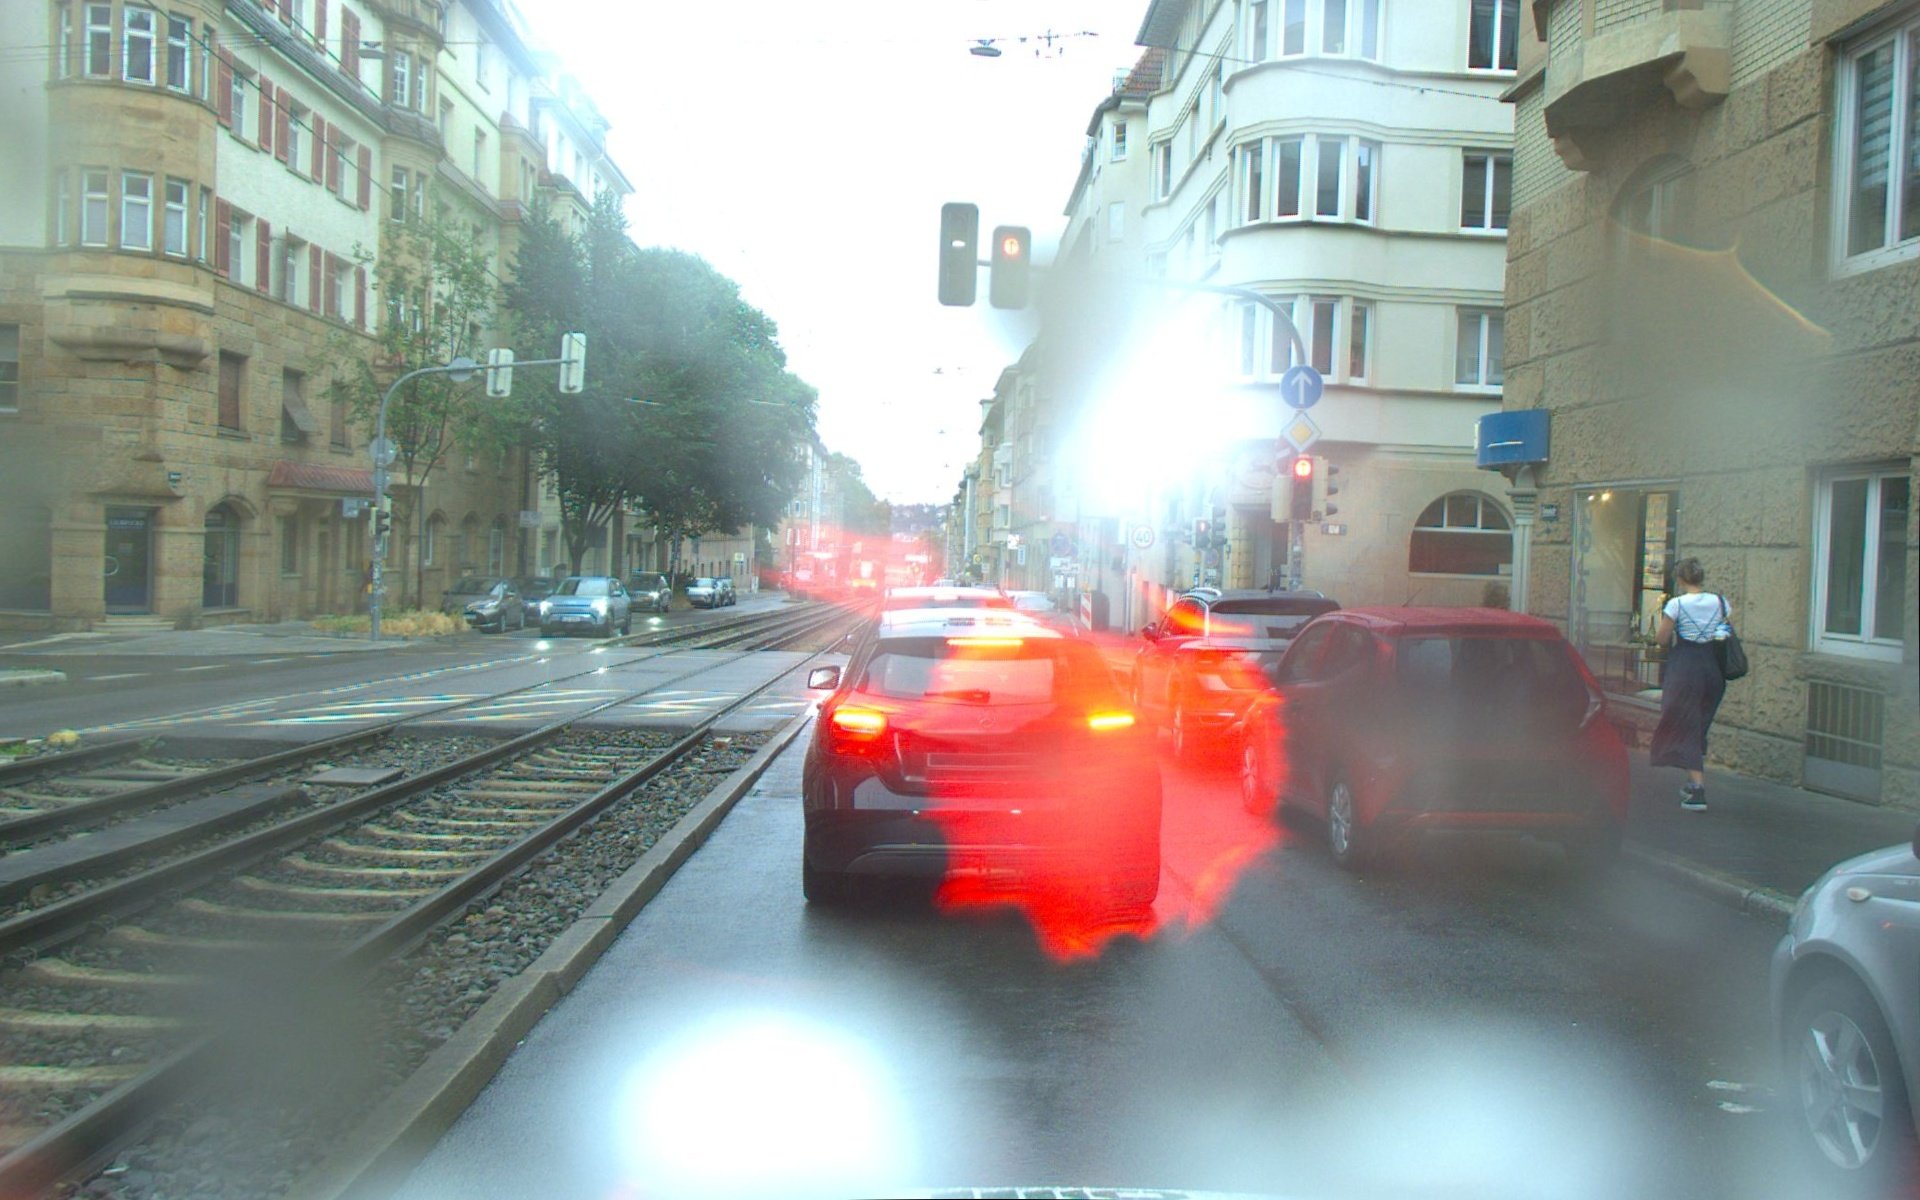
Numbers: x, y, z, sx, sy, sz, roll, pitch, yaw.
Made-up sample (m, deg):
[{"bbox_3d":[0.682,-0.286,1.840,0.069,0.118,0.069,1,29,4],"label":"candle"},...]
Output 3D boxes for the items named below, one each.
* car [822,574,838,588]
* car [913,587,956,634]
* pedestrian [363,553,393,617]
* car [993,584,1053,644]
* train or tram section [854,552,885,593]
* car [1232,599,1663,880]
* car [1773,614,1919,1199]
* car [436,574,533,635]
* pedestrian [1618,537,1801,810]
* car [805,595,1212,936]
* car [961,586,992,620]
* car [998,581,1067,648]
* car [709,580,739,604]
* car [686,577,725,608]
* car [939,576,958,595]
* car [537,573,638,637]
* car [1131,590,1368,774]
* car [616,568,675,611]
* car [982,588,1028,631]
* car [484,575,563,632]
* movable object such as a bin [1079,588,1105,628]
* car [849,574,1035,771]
[{"bbox_3d":[-12.138,-1.787,154.765,1.349,1.271,3.296,1,0,-2],"label":"car"},{"bbox_3d":[-0.979,0.368,61.924,1.513,1.664,3.684,1,0,-2],"label":"car"},{"bbox_3d":[-15.701,-0.387,44.636,0.619,1.702,0.701,1,-1,-9],"label":"pedestrian"},{"bbox_3d":[1.763,0.378,47.132,1.513,1.618,3.547,1,0,-1],"label":"car"},{"bbox_3d":[-9.309,-2.750,171.041,2.726,3.928,10.427,1,0,-1],"label":"train or tram section"},{"bbox_3d":[2.902,0.753,10.553,1.609,1.473,3.297,1,0,-3],"label":"car"},{"bbox_3d":[3.119,0.793,3.093,1.581,1.493,3.312,0,0,0],"label":"car"},{"bbox_3d":[-13.018,0.119,45.487,1.718,1.579,4.032,1,0,-4],"label":"car"},{"bbox_3d":[5.142,0.486,11.413,0.726,1.778,1.111,1,-1,-1],"label":"pedestrian"},{"bbox_3d":[0.187,0.735,9.443,1.792,1.483,4.103,1,0,-1],"label":"car"},{"bbox_3d":[0.716,0.130,73.598,1.268,1.467,2.928,1,0,-1],"label":"car"},{"bbox_3d":[1.833,0.352,42.658,1.513,1.618,3.547,1,0,-1],"label":"car"},{"bbox_3d":[-14.032,-0.452,98.362,1.419,1.354,3.270,1,0,-3],"label":"car"},{"bbox_3d":[-13.664,-0.395,88.957,1.557,1.608,3.917,1,0,-1],"label":"car"},{"bbox_3d":[-1.177,-1.484,174.236,1.953,1.909,3.999,1,0,-1],"label":"car"},{"bbox_3d":[-10.053,0.137,44.918,1.860,1.615,3.972,1,0,-1],"label":"car"},{"bbox_3d":[2.626,0.681,15.788,1.513,1.512,3.829,1,0,-1],"label":"car"},{"bbox_3d":[-13.568,-0.423,71.496,1.837,1.767,3.917,1,0,-1],"label":"car"},{"bbox_3d":[1.657,0.325,61.540,1.513,1.512,3.547,1,0,-1],"label":"car"},{"bbox_3d":[-13.282,0.100,50.513,1.683,1.639,3.914,1,0,-5],"label":"car"},{"bbox_3d":[4.757,0.304,59.635,0.859,1.413,0.983,1,-1,3],"label":"movable object such as a bin"},{"bbox_3d":[-0.181,0.619,15.826,1.533,1.637,3.813,1,0,-1],"label":"car"}]
